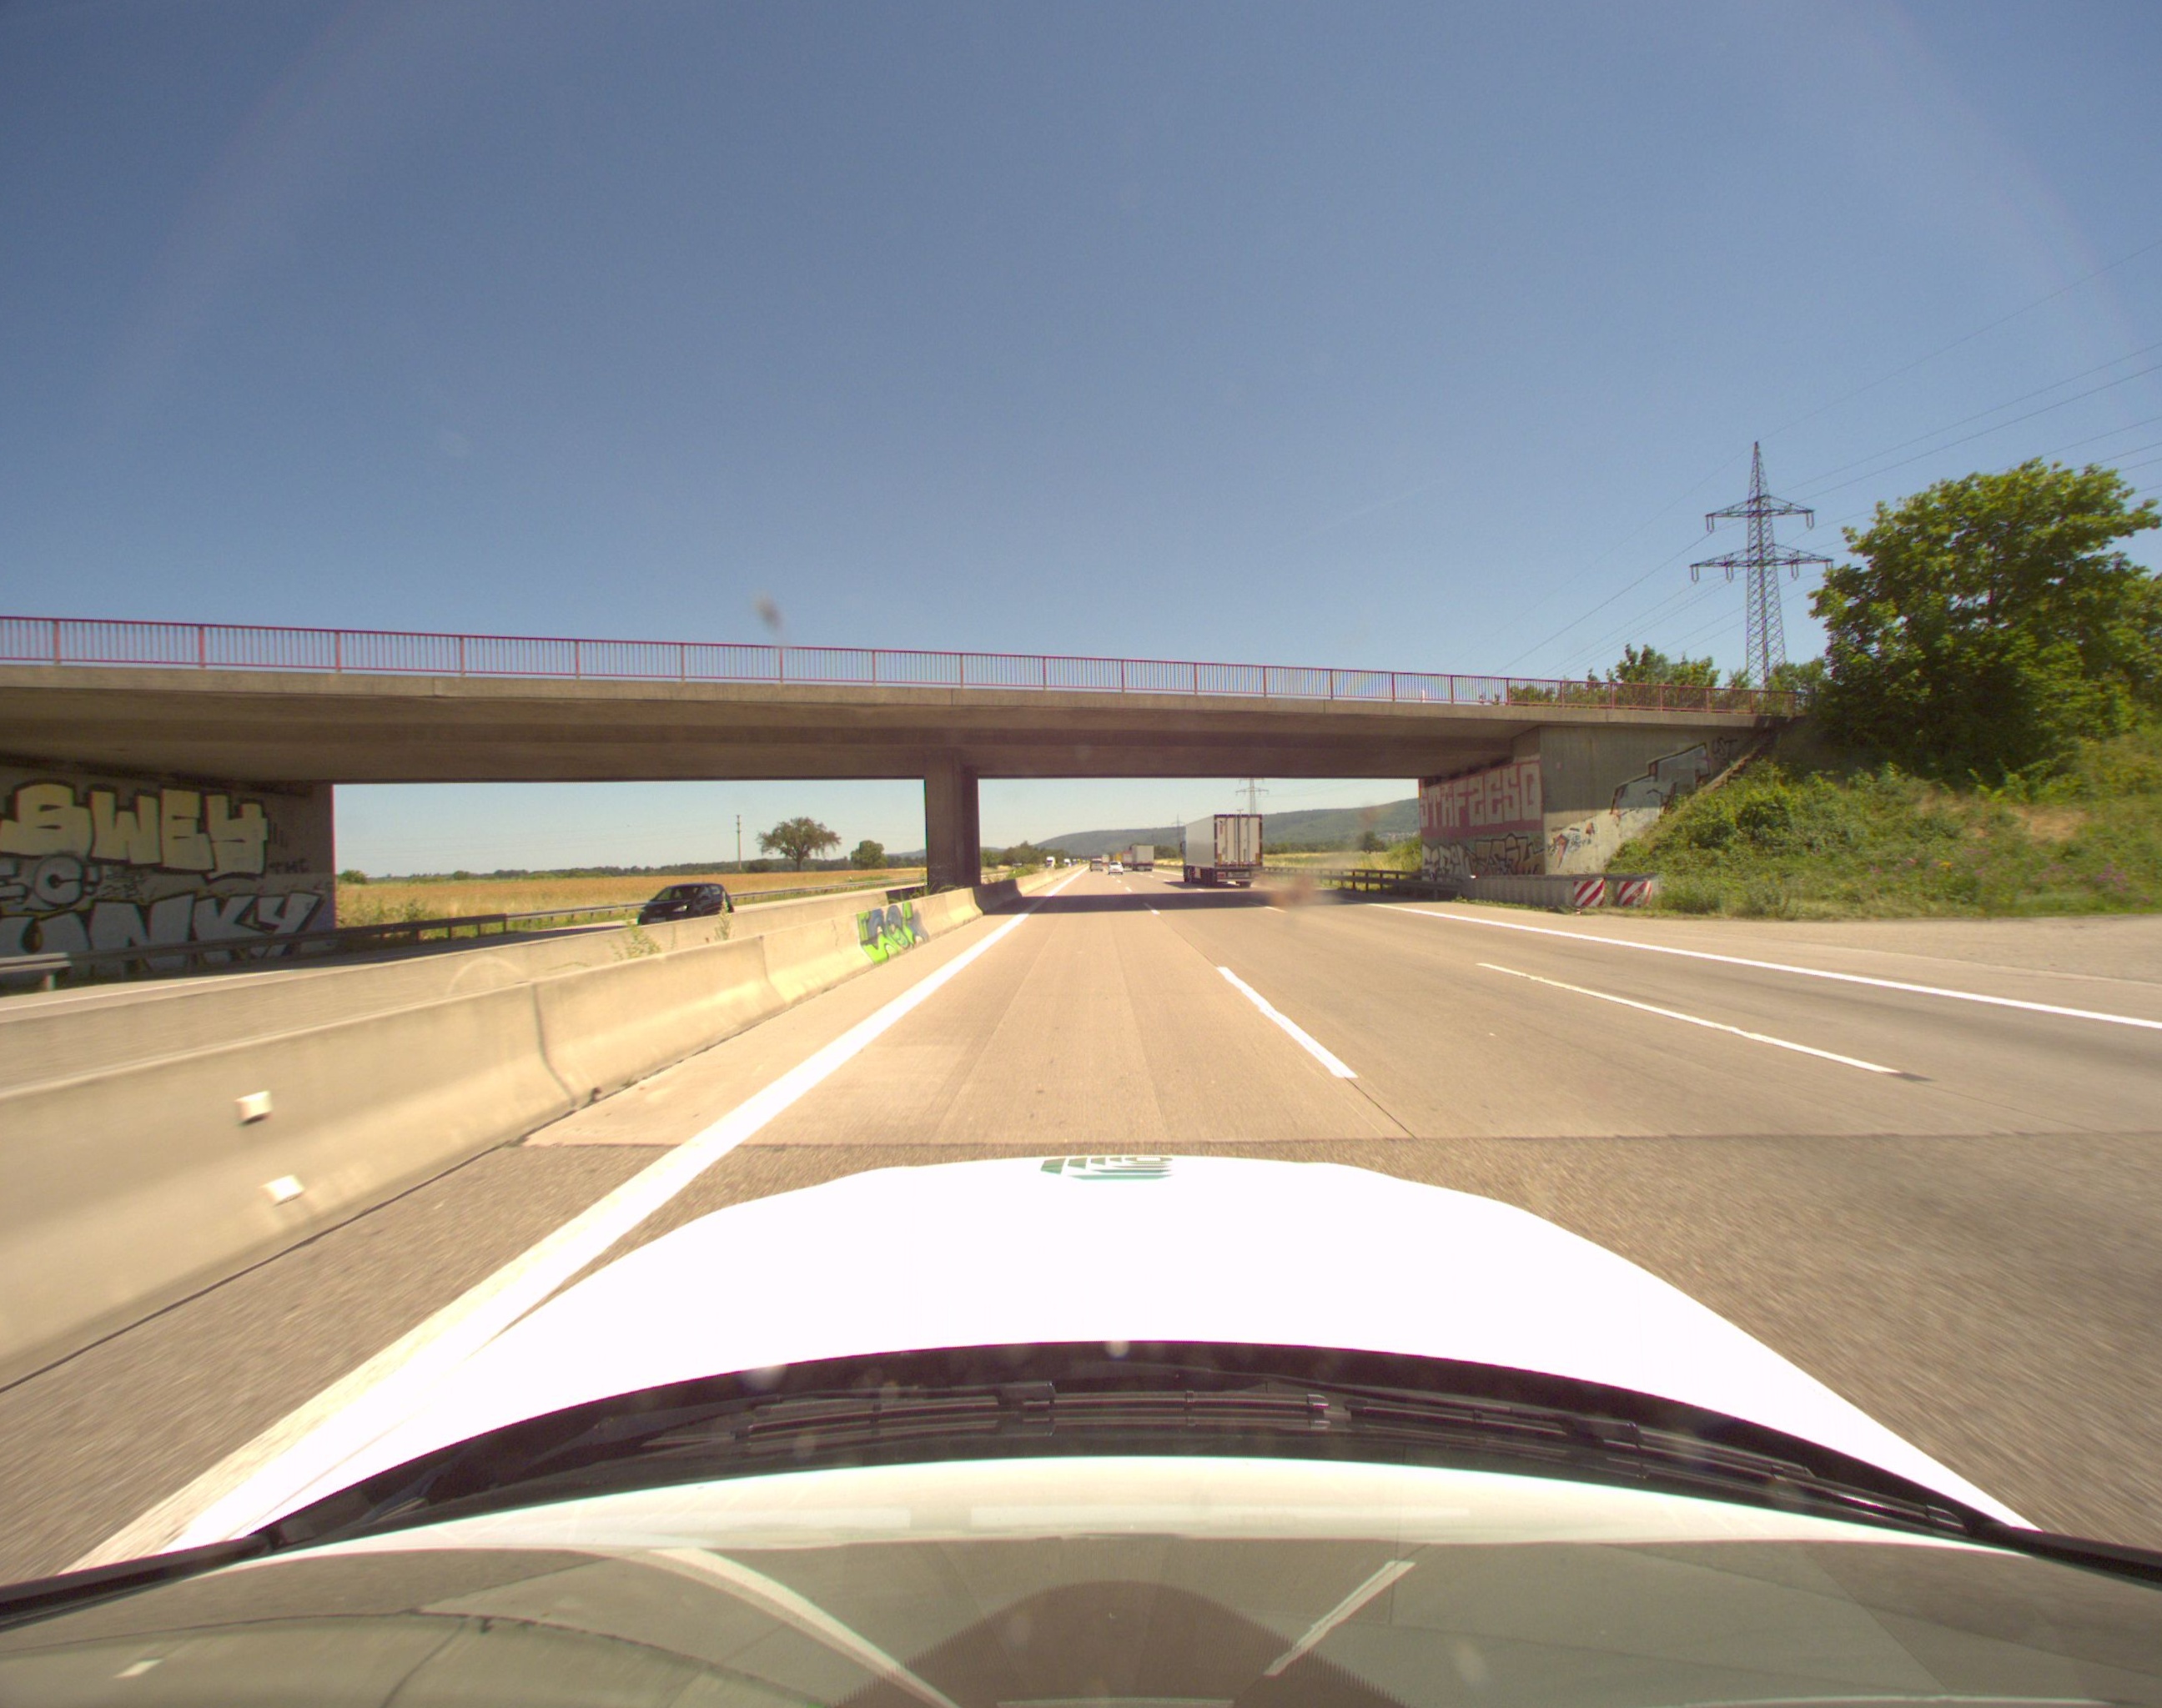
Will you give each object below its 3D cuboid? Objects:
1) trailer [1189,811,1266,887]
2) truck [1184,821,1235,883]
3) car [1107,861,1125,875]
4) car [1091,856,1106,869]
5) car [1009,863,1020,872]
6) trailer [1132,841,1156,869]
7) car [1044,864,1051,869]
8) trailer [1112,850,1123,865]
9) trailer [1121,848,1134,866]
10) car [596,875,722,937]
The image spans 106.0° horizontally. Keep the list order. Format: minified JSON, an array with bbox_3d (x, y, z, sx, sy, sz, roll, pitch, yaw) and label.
[{"bbox_3d":[8.651,-0.189,49.796,2.699,4.044,12.904,0,-1,1],"label":"trailer"},{"bbox_3d":[8.789,-0.120,56.131,2.740,4.044,5.467,0,-1,1],"label":"truck"},{"bbox_3d":[4.040,1.627,94.767,2.099,1.536,4.124,0,-1,2],"label":"car"},{"bbox_3d":[2.789,1.389,128.464,2.246,2.014,4.299,0,-1,2],"label":"car"},{"bbox_3d":[-14.660,2.972,181.000,1.858,1.944,5.566,0,-1,1],"label":"car"},{"bbox_3d":[9.817,0.230,127.497,3.007,4.061,14.210,0,-1,2],"label":"trailer"},{"bbox_3d":[-9.222,3.413,226.219,1.707,1.359,5.043,0,-1,0],"label":"car"},{"bbox_3d":[11.327,1.184,254.421,3.204,4.564,13.459,0,-1,1],"label":"trailer"},{"bbox_3d":[10.871,0.848,192.234,2.863,4.101,13.517,0,-1,2],"label":"trailer"},{"bbox_3d":[-12.858,1.523,25.101,1.760,1.618,3.862,-2,-1,0],"label":"car"}]
